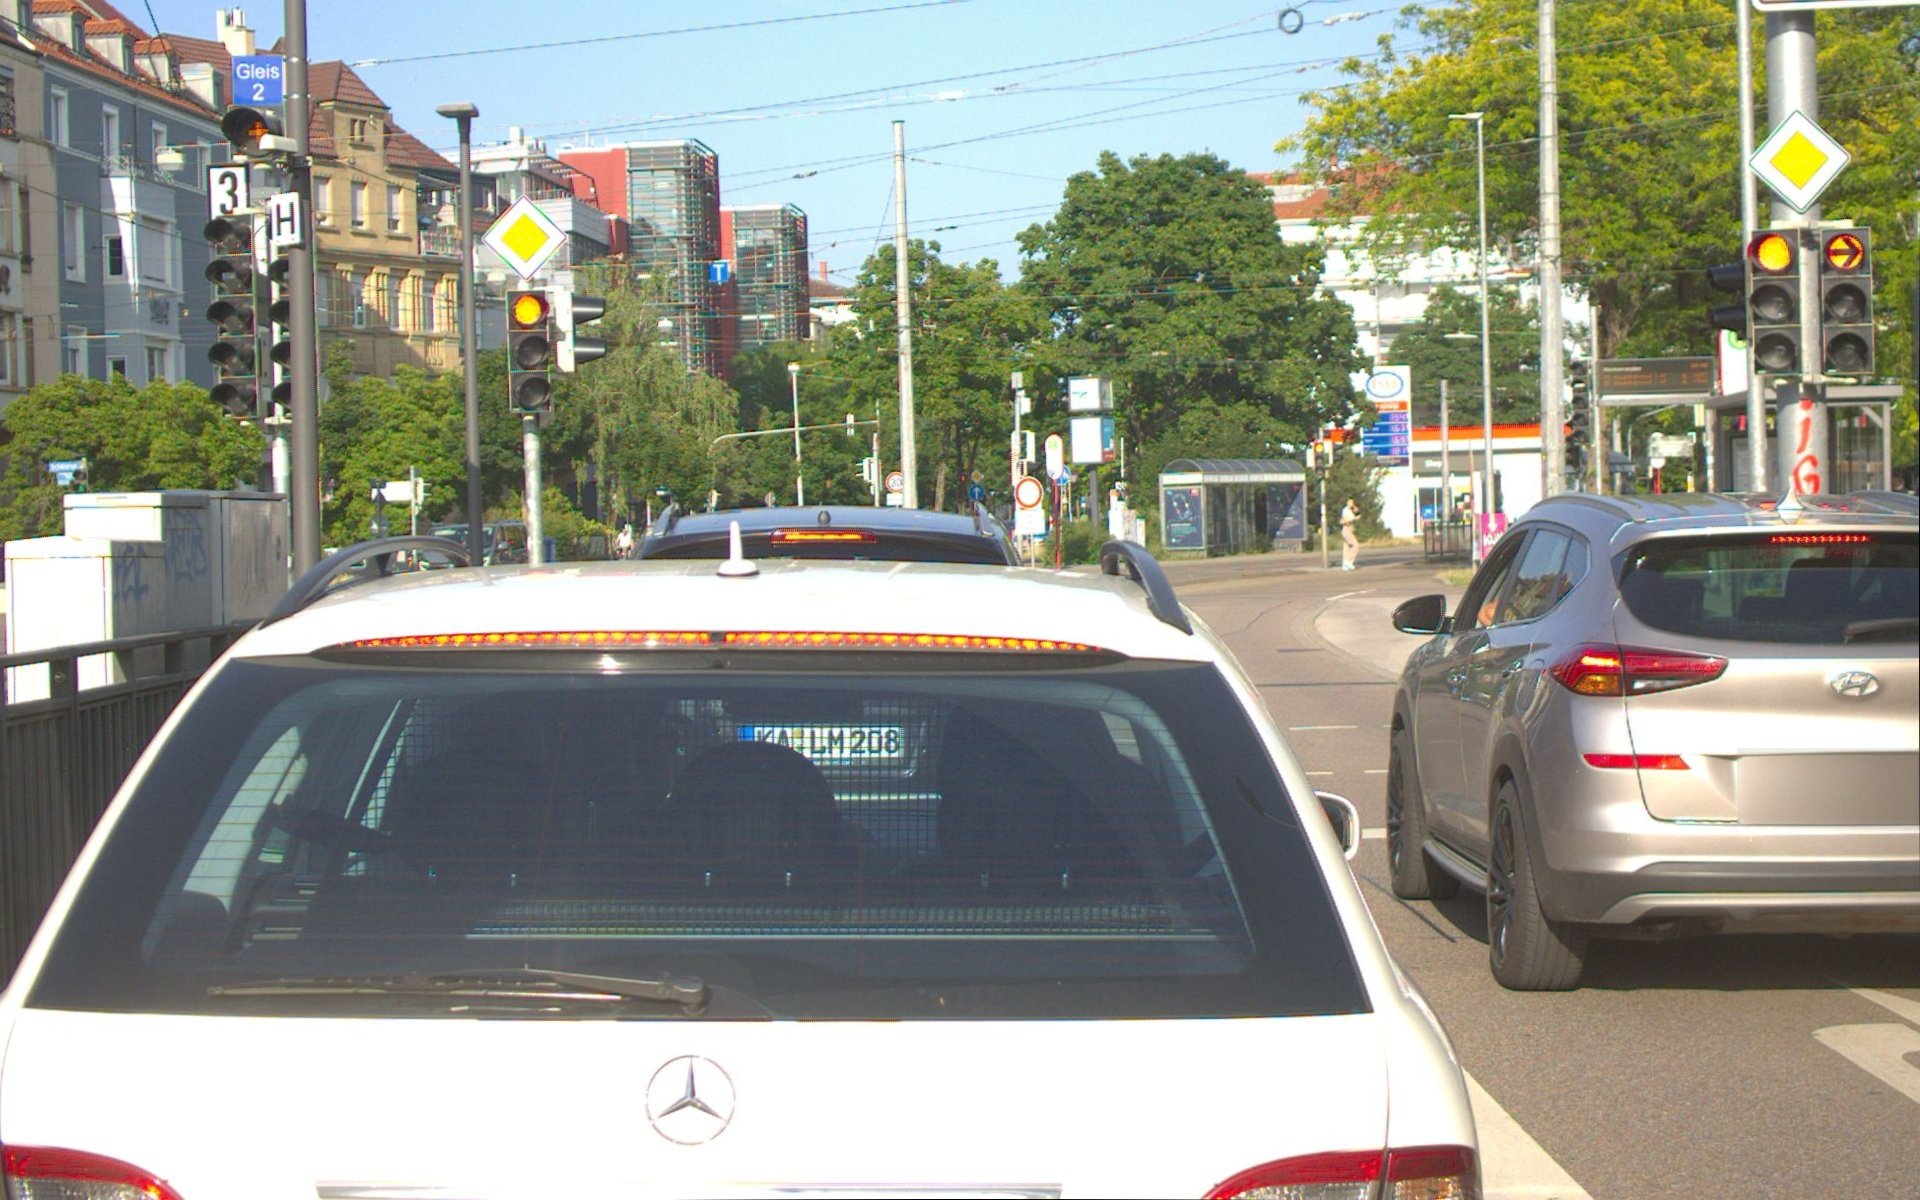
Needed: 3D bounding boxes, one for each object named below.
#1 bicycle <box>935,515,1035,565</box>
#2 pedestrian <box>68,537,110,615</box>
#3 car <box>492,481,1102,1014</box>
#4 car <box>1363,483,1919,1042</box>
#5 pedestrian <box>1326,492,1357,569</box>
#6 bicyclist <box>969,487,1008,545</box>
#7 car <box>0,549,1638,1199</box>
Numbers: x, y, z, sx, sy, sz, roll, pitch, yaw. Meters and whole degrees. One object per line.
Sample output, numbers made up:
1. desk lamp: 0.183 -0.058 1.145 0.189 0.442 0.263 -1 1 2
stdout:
1. bicycle: 0.652 -1.560 89.139 2.483 1.209 0.806 -1 1 8
2. pedestrian: -18.760 -0.522 74.064 0.584 1.654 0.621 -1 1 16
3. car: -0.525 0.423 12.563 1.885 1.645 3.648 1 1 0
4. car: 2.619 0.440 12.147 1.885 1.645 3.648 -2 1 0
5. pedestrian: 9.271 -1.679 83.514 0.642 1.850 0.551 -1 1 11
6. bicyclist: 0.742 -2.182 89.116 0.861 1.476 0.789 -1 1 9
7. car: -0.307 0.671 5.002 1.796 1.465 3.648 0 1 -1
